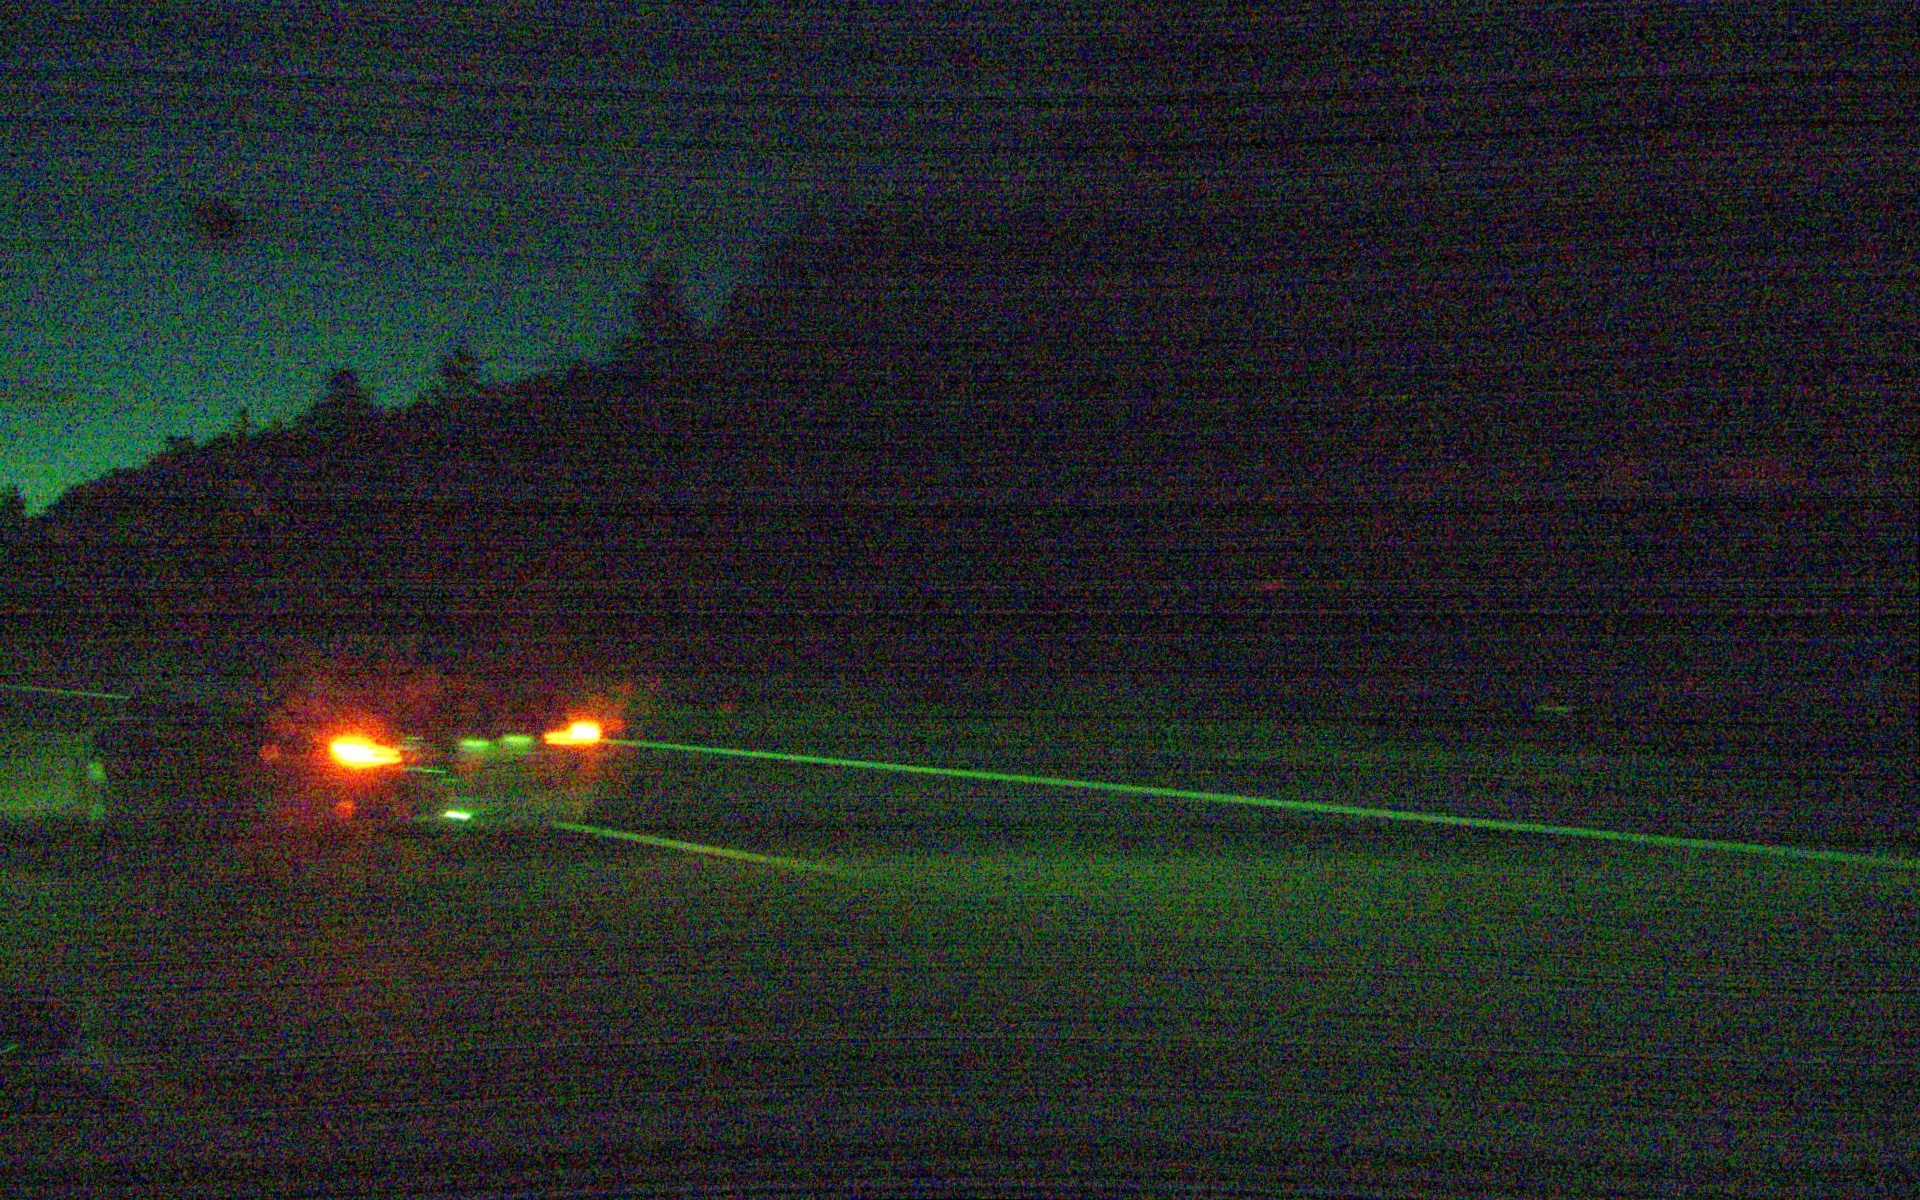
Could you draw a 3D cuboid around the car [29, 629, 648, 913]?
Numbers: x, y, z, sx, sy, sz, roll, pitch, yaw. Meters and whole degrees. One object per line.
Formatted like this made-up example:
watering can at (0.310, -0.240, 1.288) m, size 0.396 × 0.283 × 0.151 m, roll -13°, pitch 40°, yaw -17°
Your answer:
car at (-4.664, 0.935, 7.238) m, size 4.997 × 1.419 × 1.832 m, roll -1°, pitch -1°, yaw 32°
